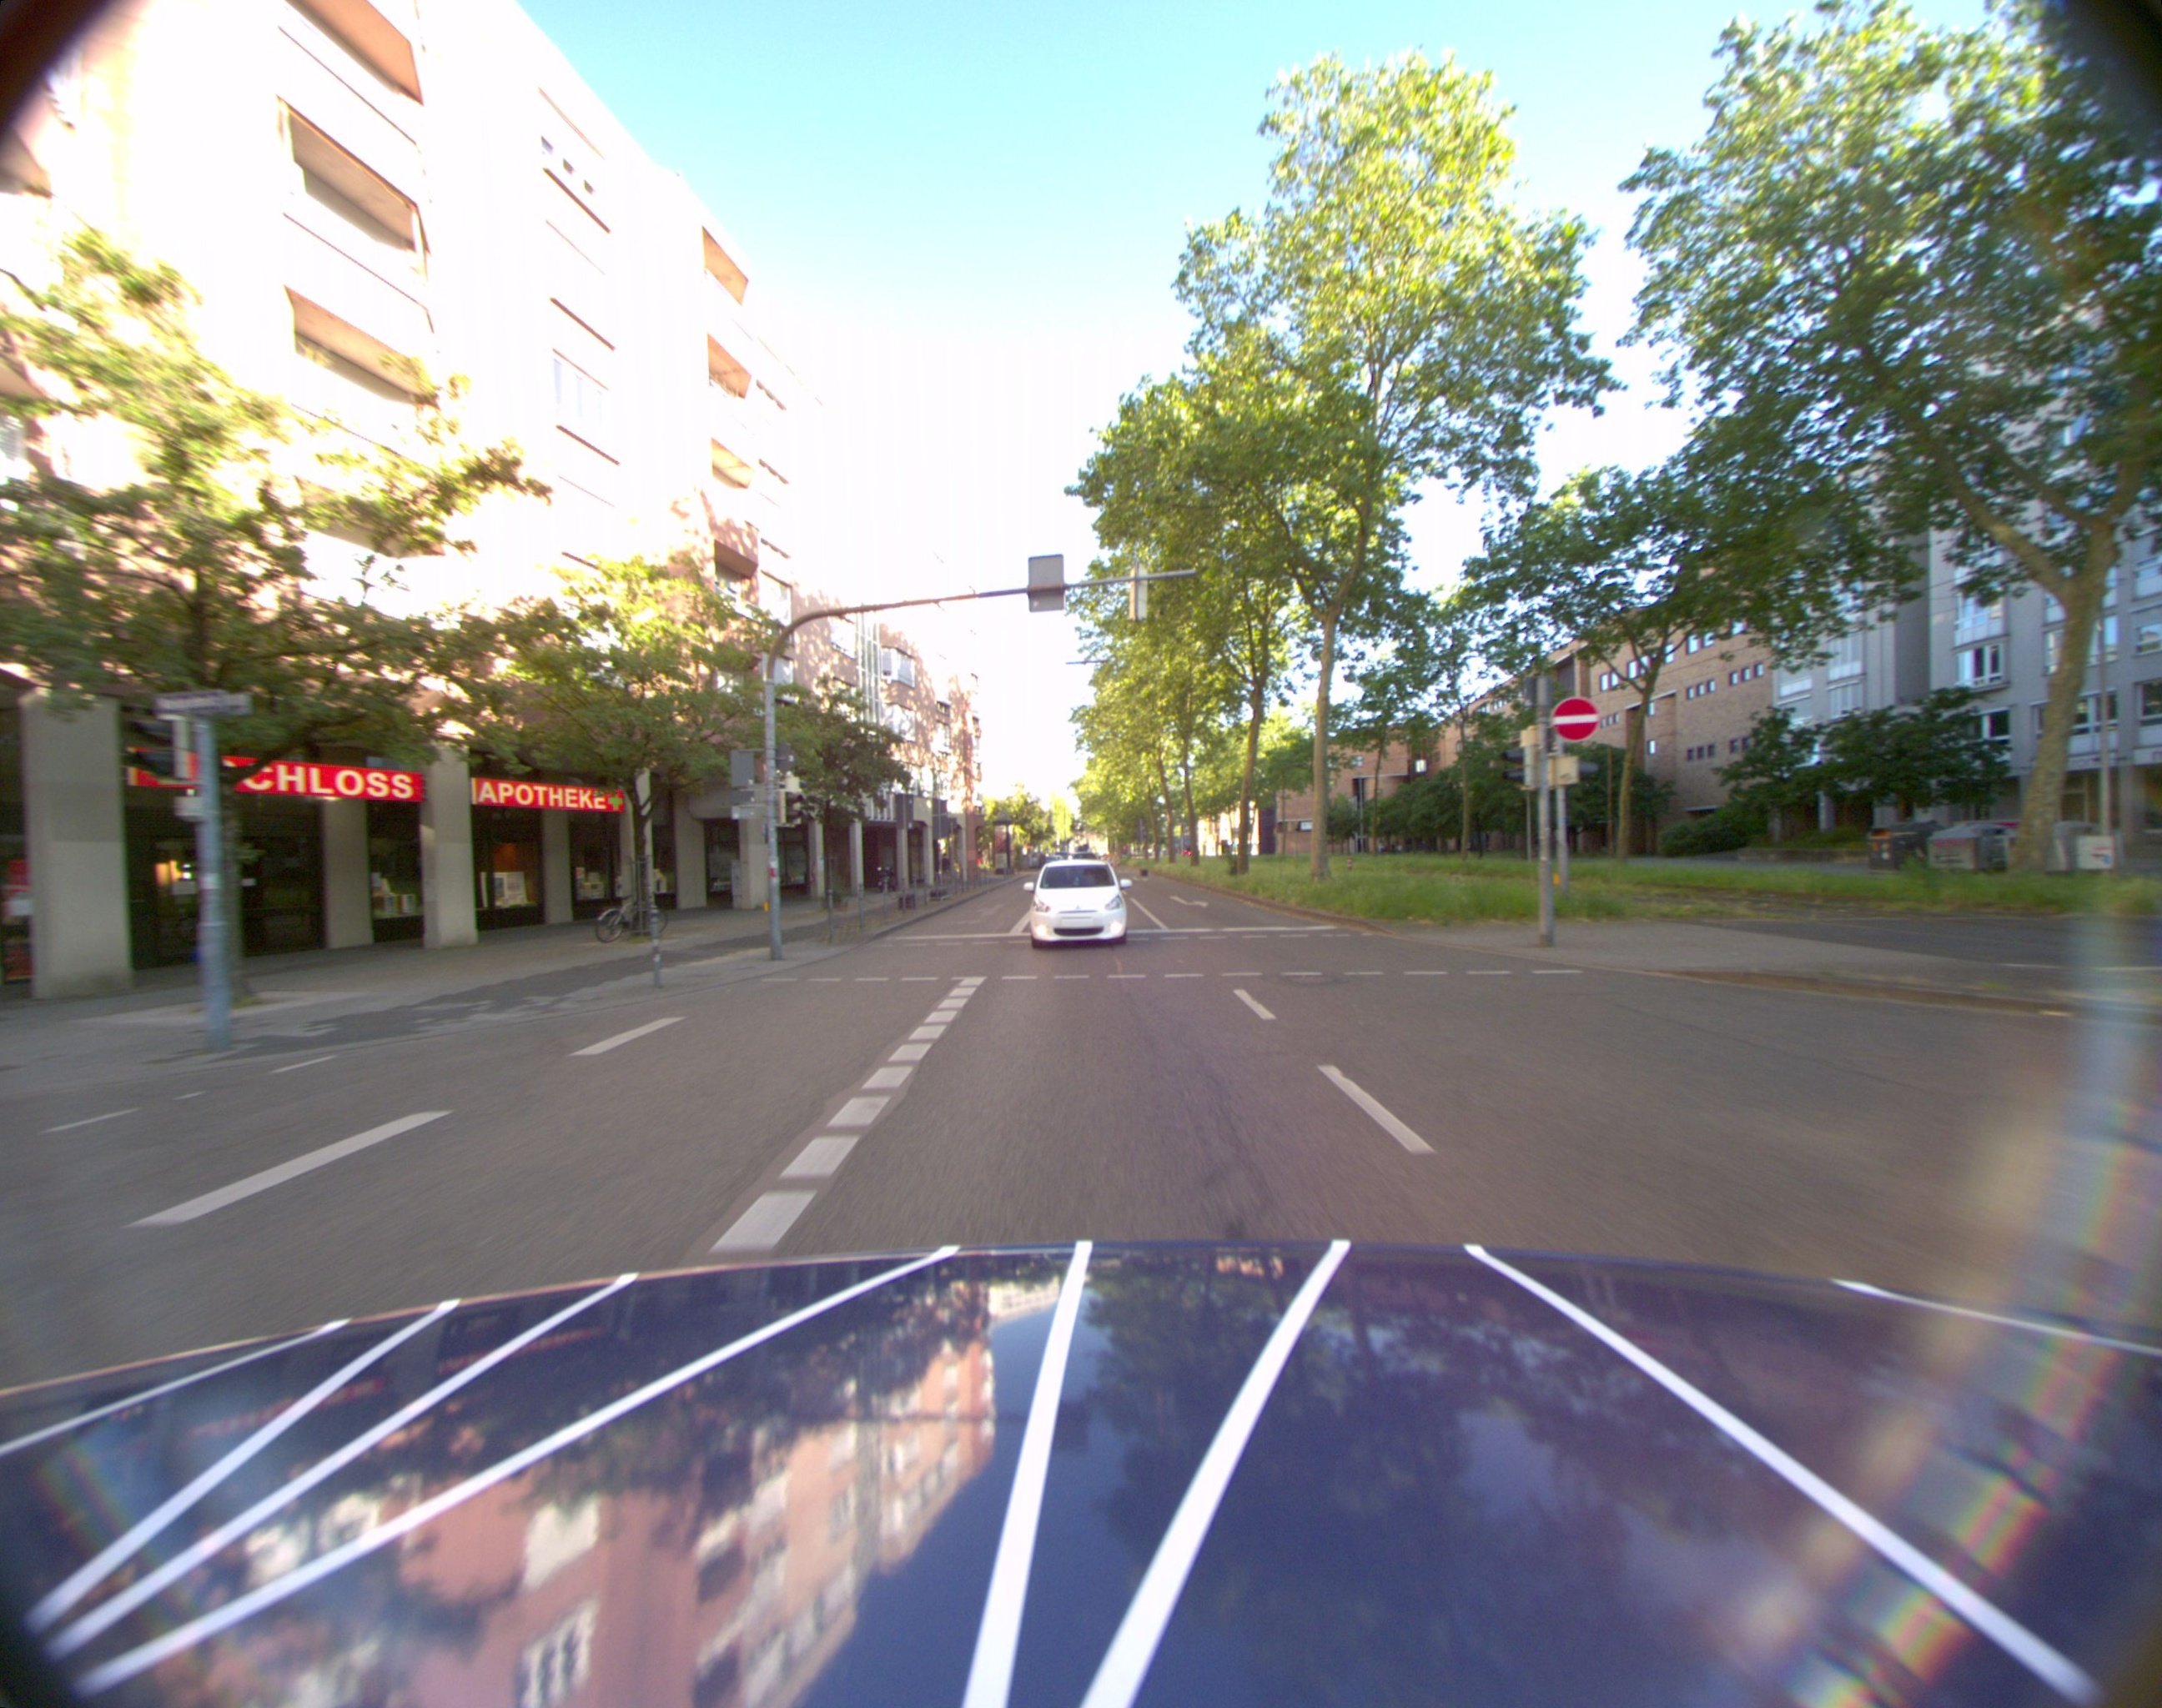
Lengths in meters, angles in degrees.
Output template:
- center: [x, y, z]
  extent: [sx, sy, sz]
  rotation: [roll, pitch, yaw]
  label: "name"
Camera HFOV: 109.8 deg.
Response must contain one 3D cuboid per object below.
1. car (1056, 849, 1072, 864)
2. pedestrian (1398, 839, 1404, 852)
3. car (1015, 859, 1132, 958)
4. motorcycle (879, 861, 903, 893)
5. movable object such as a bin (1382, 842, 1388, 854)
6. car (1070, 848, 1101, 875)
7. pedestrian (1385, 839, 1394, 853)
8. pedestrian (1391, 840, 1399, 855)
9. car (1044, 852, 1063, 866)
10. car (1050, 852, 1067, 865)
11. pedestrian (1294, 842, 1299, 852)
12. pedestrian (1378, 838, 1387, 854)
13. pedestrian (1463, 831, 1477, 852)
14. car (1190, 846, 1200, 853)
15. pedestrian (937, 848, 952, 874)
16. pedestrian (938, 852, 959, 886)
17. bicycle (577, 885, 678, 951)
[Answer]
- center: [-2.210, 0.285, 99.722]
  extent: [2.043, 1.932, 5.197]
  rotation: [0, 0, -1]
  label: "car"
- center: [35.616, -0.933, 84.515]
  extent: [0.484, 1.497, 0.463]
  rotation: [-2, 1, -1]
  label: "pedestrian"
- center: [0.023, 0.914, 14.587]
  extent: [1.720, 1.442, 4.426]
  rotation: [-4, 0, 5]
  label: "car"
- center: [-8.725, 1.038, 35.002]
  extent: [0.489, 1.364, 2.090]
  rotation: [-2, 1, 1]
  label: "motorcycle"
- center: [33.631, -0.691, 84.139]
  extent: [0.356, 1.272, 0.756]
  rotation: [-2, 1, 0]
  label: "movable object such as a bin"
- center: [0.314, 0.455, 48.871]
  extent: [1.824, 1.630, 4.000]
  rotation: [-2, 1, 1]
  label: "car"
- center: [34.497, -0.909, 84.983]
  extent: [0.665, 1.607, 0.756]
  rotation: [-2, 1, 0]
  label: "pedestrian"
- center: [35.093, -0.719, 84.845]
  extent: [0.612, 1.670, 0.596]
  rotation: [-2, 1, 0]
  label: "pedestrian"
- center: [-3.084, 0.583, 86.382]
  extent: [1.706, 1.475, 4.249]
  rotation: [-1, 0, 4]
  label: "car"
- center: [-2.713, 0.515, 92.428]
  extent: [1.705, 1.457, 4.176]
  rotation: [-1, 0, 5]
  label: "car"
- center: [34.074, -1.051, 120.081]
  extent: [0.417, 1.535, 0.652]
  rotation: [-2, 1, -6]
  label: "pedestrian"
- center: [33.694, -0.922, 84.912]
  extent: [0.665, 1.712, 0.796]
  rotation: [-2, 1, 0]
  label: "pedestrian"
- center: [34.663, -1.111, 67.722]
  extent: [0.826, 1.821, 0.901]
  rotation: [-2, 1, 2]
  label: "pedestrian"
- center: [24.867, -1.044, 165.944]
  extent: [1.675, 1.421, 4.149]
  rotation: [-2, 0, 0]
  label: "car"
- center: [-10.557, 0.567, 58.756]
  extent: [0.849, 1.970, 0.816]
  rotation: [-3, 1, -32]
  label: "pedestrian"
- center: [-7.018, 0.795, 40.248]
  extent: [0.782, 1.728, 0.837]
  rotation: [-2, 1, 10]
  label: "pedestrian"
- center: [-9.609, 1.326, 16.193]
  extent: [0.622, 1.218, 1.928]
  rotation: [-2, 1, 13]
  label: "bicycle"
